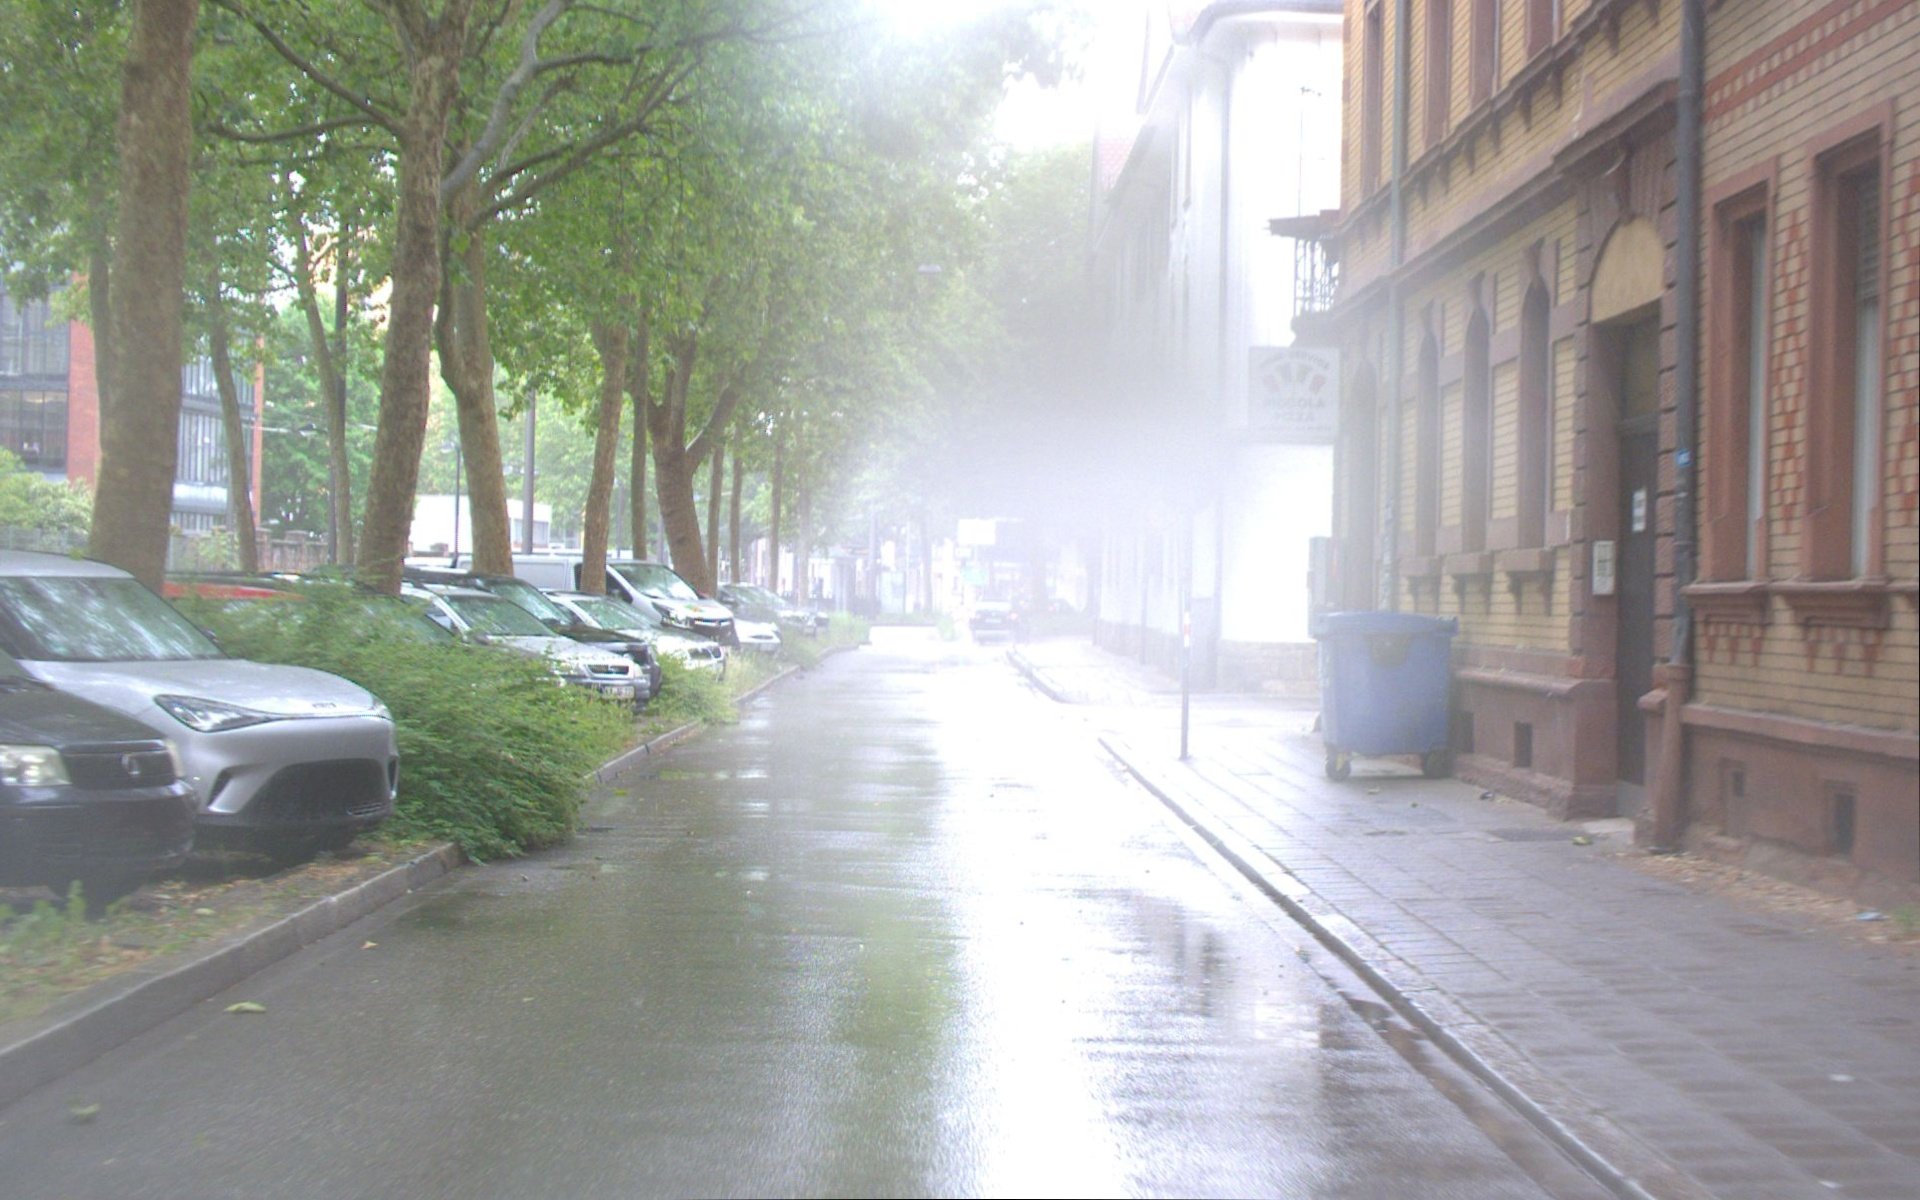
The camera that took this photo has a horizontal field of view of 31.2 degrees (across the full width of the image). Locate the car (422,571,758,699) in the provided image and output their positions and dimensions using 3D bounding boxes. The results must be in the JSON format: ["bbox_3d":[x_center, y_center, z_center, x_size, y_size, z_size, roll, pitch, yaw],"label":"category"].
[{"bbox_3d":[-5.983,0.554,55.378,5.124,1.971,2.099,0,-1,31],"label":"car"}]

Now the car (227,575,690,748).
[{"bbox_3d":[-5.062,0.617,34.545,4.411,1.640,1.868,0,-2,31],"label":"car"}]

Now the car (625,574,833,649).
[{"bbox_3d":[-5.433,0.269,80.892,4.465,1.591,1.920,2,0,26],"label":"car"}]

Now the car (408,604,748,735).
[{"bbox_3d":[-5.024,0.902,45.206,4.061,1.494,1.745,3,0,23],"label":"car"}]

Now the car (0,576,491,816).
[{"bbox_3d":[-5.349,0.638,24.402,3.648,1.474,1.740,3,0,30],"label":"car"}]

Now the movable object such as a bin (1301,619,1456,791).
[{"bbox_3d":[3.316,0.816,27.345,1.021,1.297,1.367,-1,0,-1],"label":"movable object such as a bin"}]

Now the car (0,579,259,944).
[{"bbox_3d":[-5.076,0.629,15.211,3.503,1.463,1.640,1,-1,21],"label":"car"}]

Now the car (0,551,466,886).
[{"bbox_3d":[-4.796,0.524,17.972,4.059,1.532,1.832,3,0,30],"label":"car"}]

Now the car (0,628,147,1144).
[{"bbox_3d":[-4.701,0.685,9.522,4.652,1.321,1.844,1,-1,27],"label":"car"}]

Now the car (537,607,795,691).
[{"bbox_3d":[-5.453,0.900,63.701,4.553,1.477,1.772,0,-1,30],"label":"car"}]

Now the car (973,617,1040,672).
[{"bbox_3d":[1.505,1.456,111.881,1.993,1.634,4.000,3,-1,-1],"label":"car"}]

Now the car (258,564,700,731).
[{"bbox_3d":[-5.218,0.496,37.216,4.410,1.654,1.927,1,-1,28],"label":"car"}]

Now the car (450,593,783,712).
[{"bbox_3d":[-4.815,0.723,48.073,4.308,1.432,1.745,3,0,26],"label":"car"}]
